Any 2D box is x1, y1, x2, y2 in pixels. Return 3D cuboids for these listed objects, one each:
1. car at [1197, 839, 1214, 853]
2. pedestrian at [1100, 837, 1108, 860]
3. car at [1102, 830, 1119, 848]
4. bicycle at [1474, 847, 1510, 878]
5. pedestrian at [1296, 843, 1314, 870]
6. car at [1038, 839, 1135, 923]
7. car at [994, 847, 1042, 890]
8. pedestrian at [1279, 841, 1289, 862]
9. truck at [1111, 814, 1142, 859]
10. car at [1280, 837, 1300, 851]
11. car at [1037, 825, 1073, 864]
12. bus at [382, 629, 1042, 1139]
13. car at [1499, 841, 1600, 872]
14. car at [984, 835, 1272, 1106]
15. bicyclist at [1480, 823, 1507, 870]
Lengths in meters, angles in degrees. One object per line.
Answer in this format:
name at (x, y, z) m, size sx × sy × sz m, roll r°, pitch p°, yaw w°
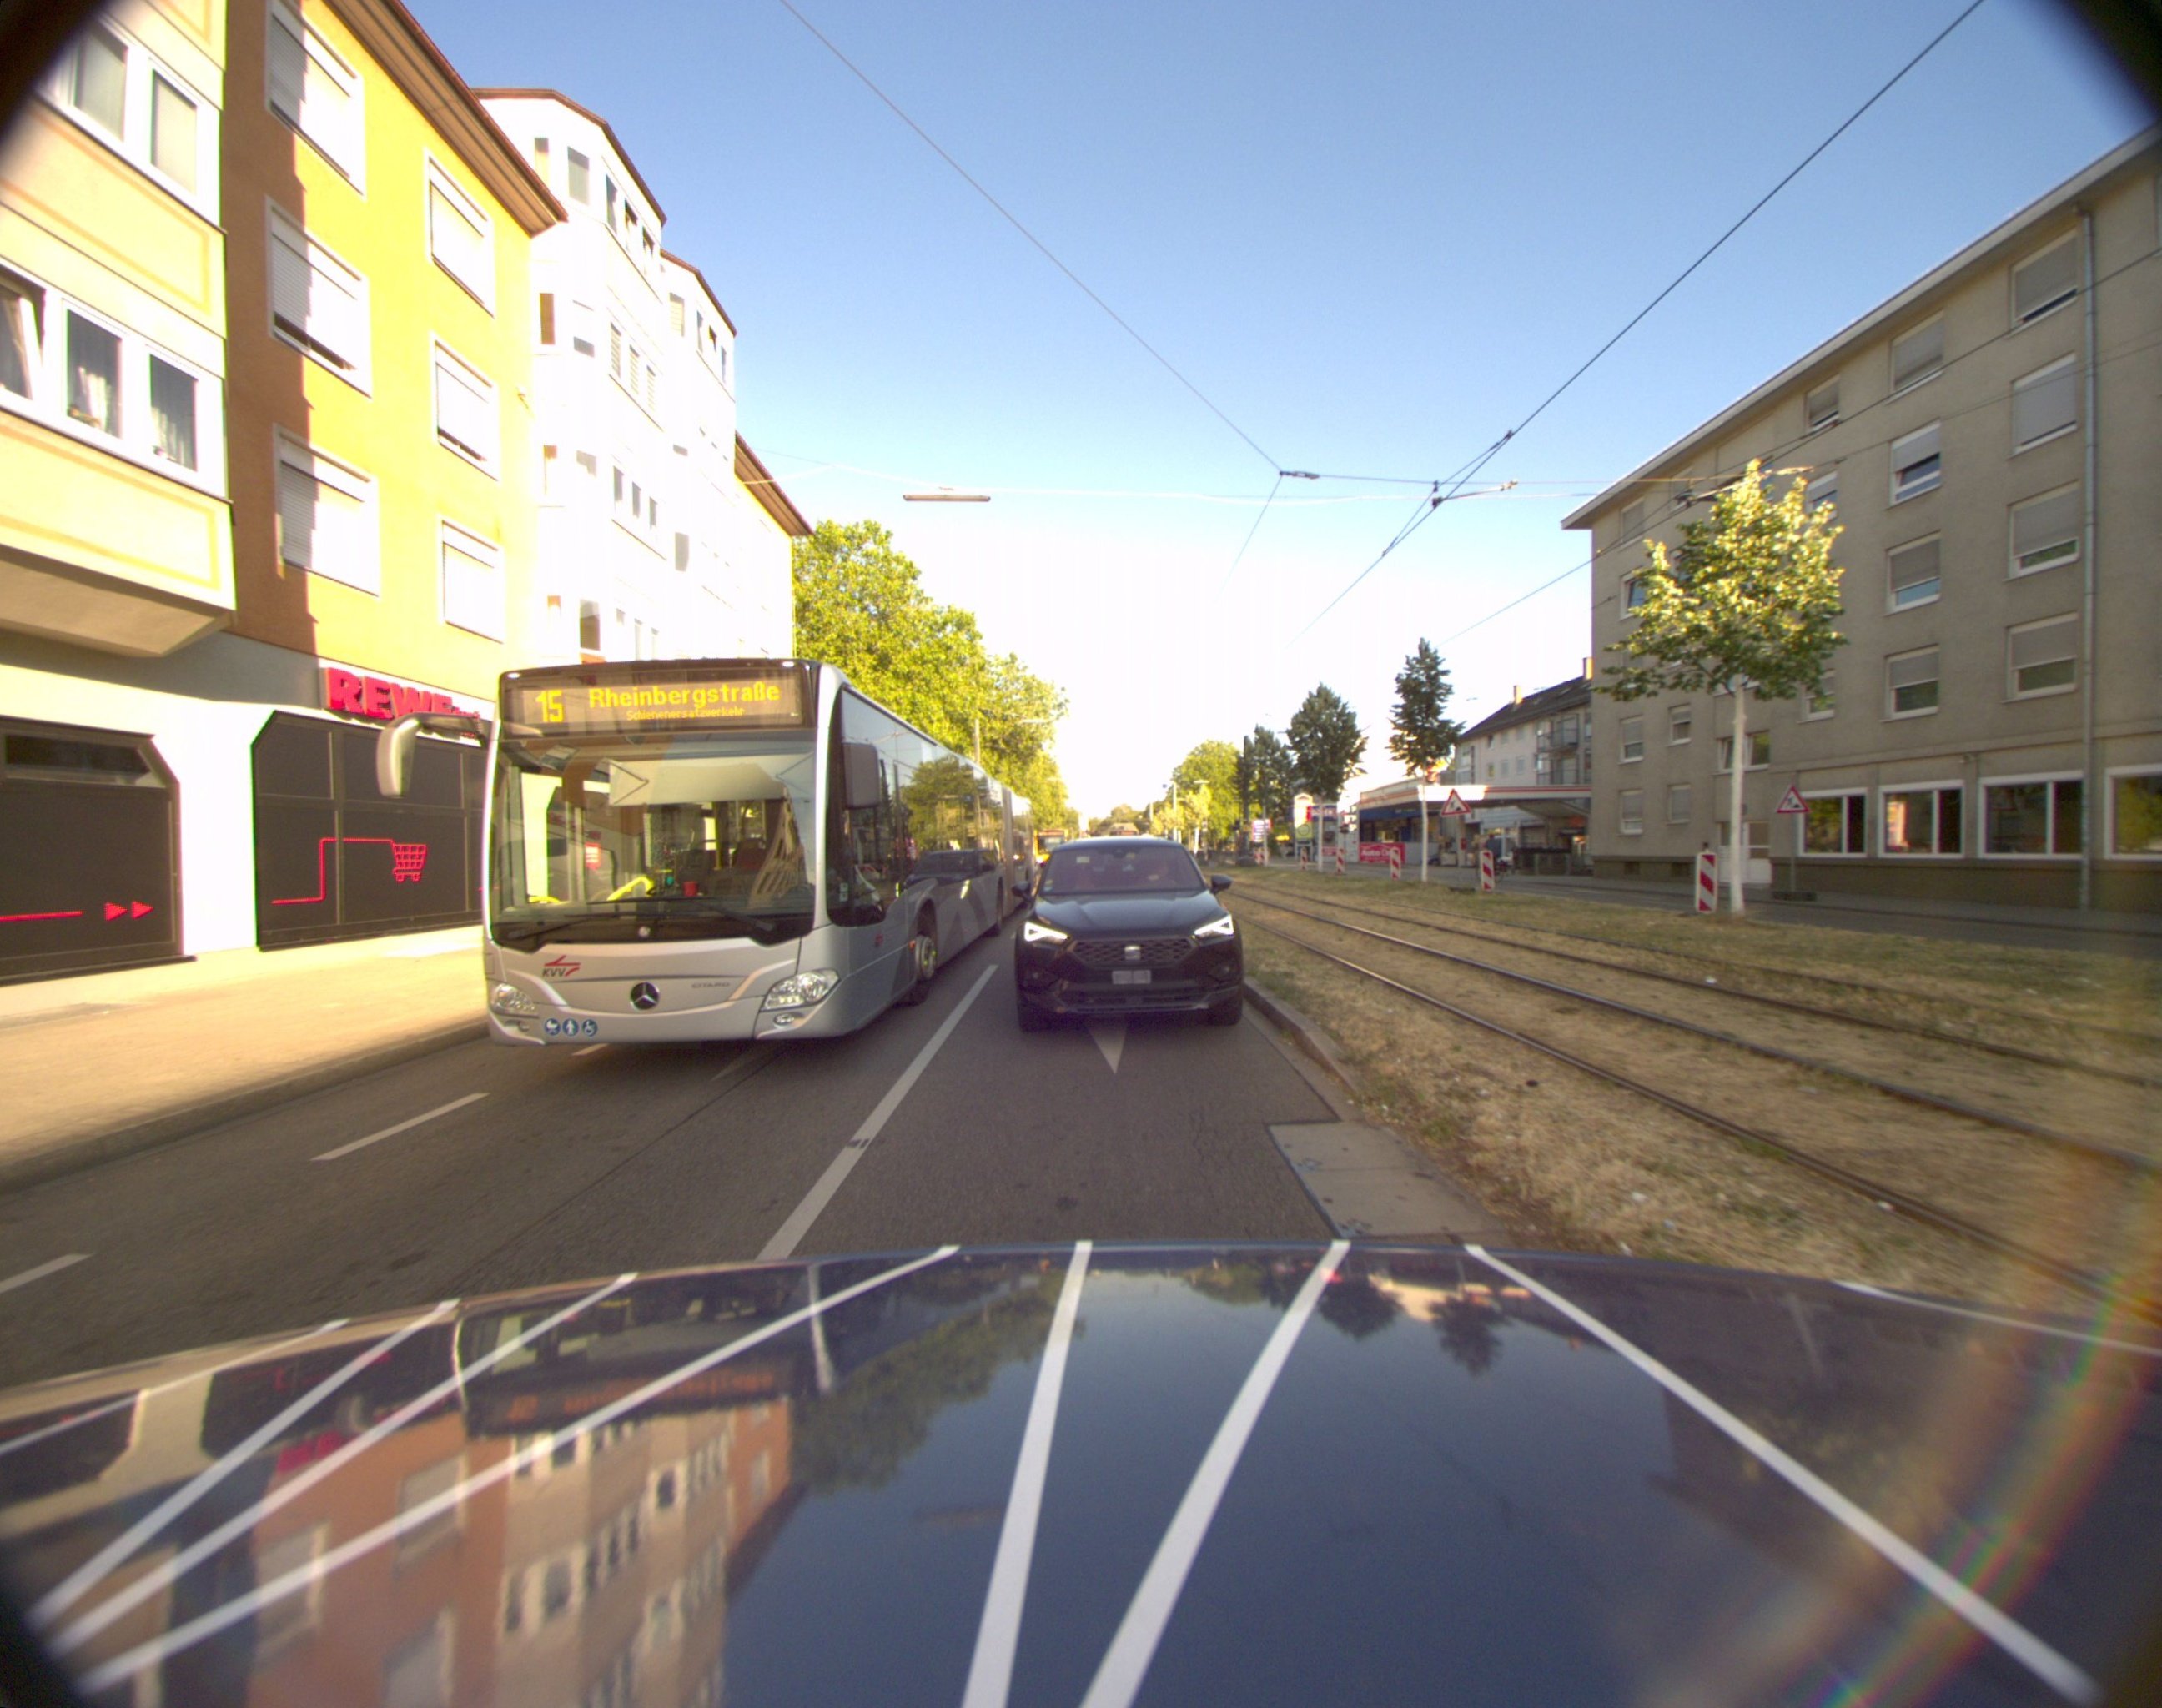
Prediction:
car at (16.858, -1.141, 102.916) m, size 1.997 × 1.725 × 4.394 m, roll -2°, pitch 1°, yaw 6°
pedestrian at (2.014, -0.473, 67.045) m, size 0.625 × 2.002 × 0.695 m, roll -2°, pitch 1°, yaw 0°
car at (3.475, -1.720, 89.071) m, size 1.767 × 2.002 × 3.790 m, roll -2°, pitch 2°, yaw 0°
bicycle at (16.849, 0.335, 31.179) m, size 0.456 × 1.250 × 1.870 m, roll -1°, pitch 0°, yaw 0°
pedestrian at (10.847, 0.123, 36.800) m, size 0.664 × 1.263 × 0.581 m, roll -2°, pitch 1°, yaw 1°
car at (0.119, 0.531, 17.816) m, size 1.998 × 1.740 × 3.999 m, roll 0°, pitch 1°, yaw 0°
car at (-2.589, 0.539, 32.020) m, size 1.750 × 1.598 × 3.823 m, roll -2°, pitch 1°, yaw -1°
pedestrian at (19.978, -0.219, 74.751) m, size 0.632 × 2.002 × 0.583 m, roll -5°, pitch 1°, yaw 1°
truck at (4.132, -1.589, 69.847) m, size 2.306 × 3.799 × 7.721 m, roll -2°, pitch 2°, yaw 0°
car at (24.821, -1.246, 90.438) m, size 1.781 × 1.547 × 4.001 m, roll -2°, pitch 2°, yaw 9°
car at (-2.030, -0.792, 61.202) m, size 2.681 × 2.875 × 5.451 m, roll -2°, pitch 2°, yaw 0°
bus at (-2.744, 0.048, 13.610) m, size 2.773 × 3.132 × 17.739 m, roll -1°, pitch 1°, yaw 1°
car at (22.617, 0.152, 36.807) m, size 3.728 × 1.460 × 1.908 m, roll 0°, pitch -1°, yaw -1°
car at (0.316, 0.715, 6.814) m, size 1.774 × 1.667 × 3.999 m, roll -2°, pitch 1°, yaw 0°
bicyclist at (16.851, -0.314, 31.037) m, size 0.653 × 1.872 × 0.809 m, roll 0°, pitch 1°, yaw 0°
